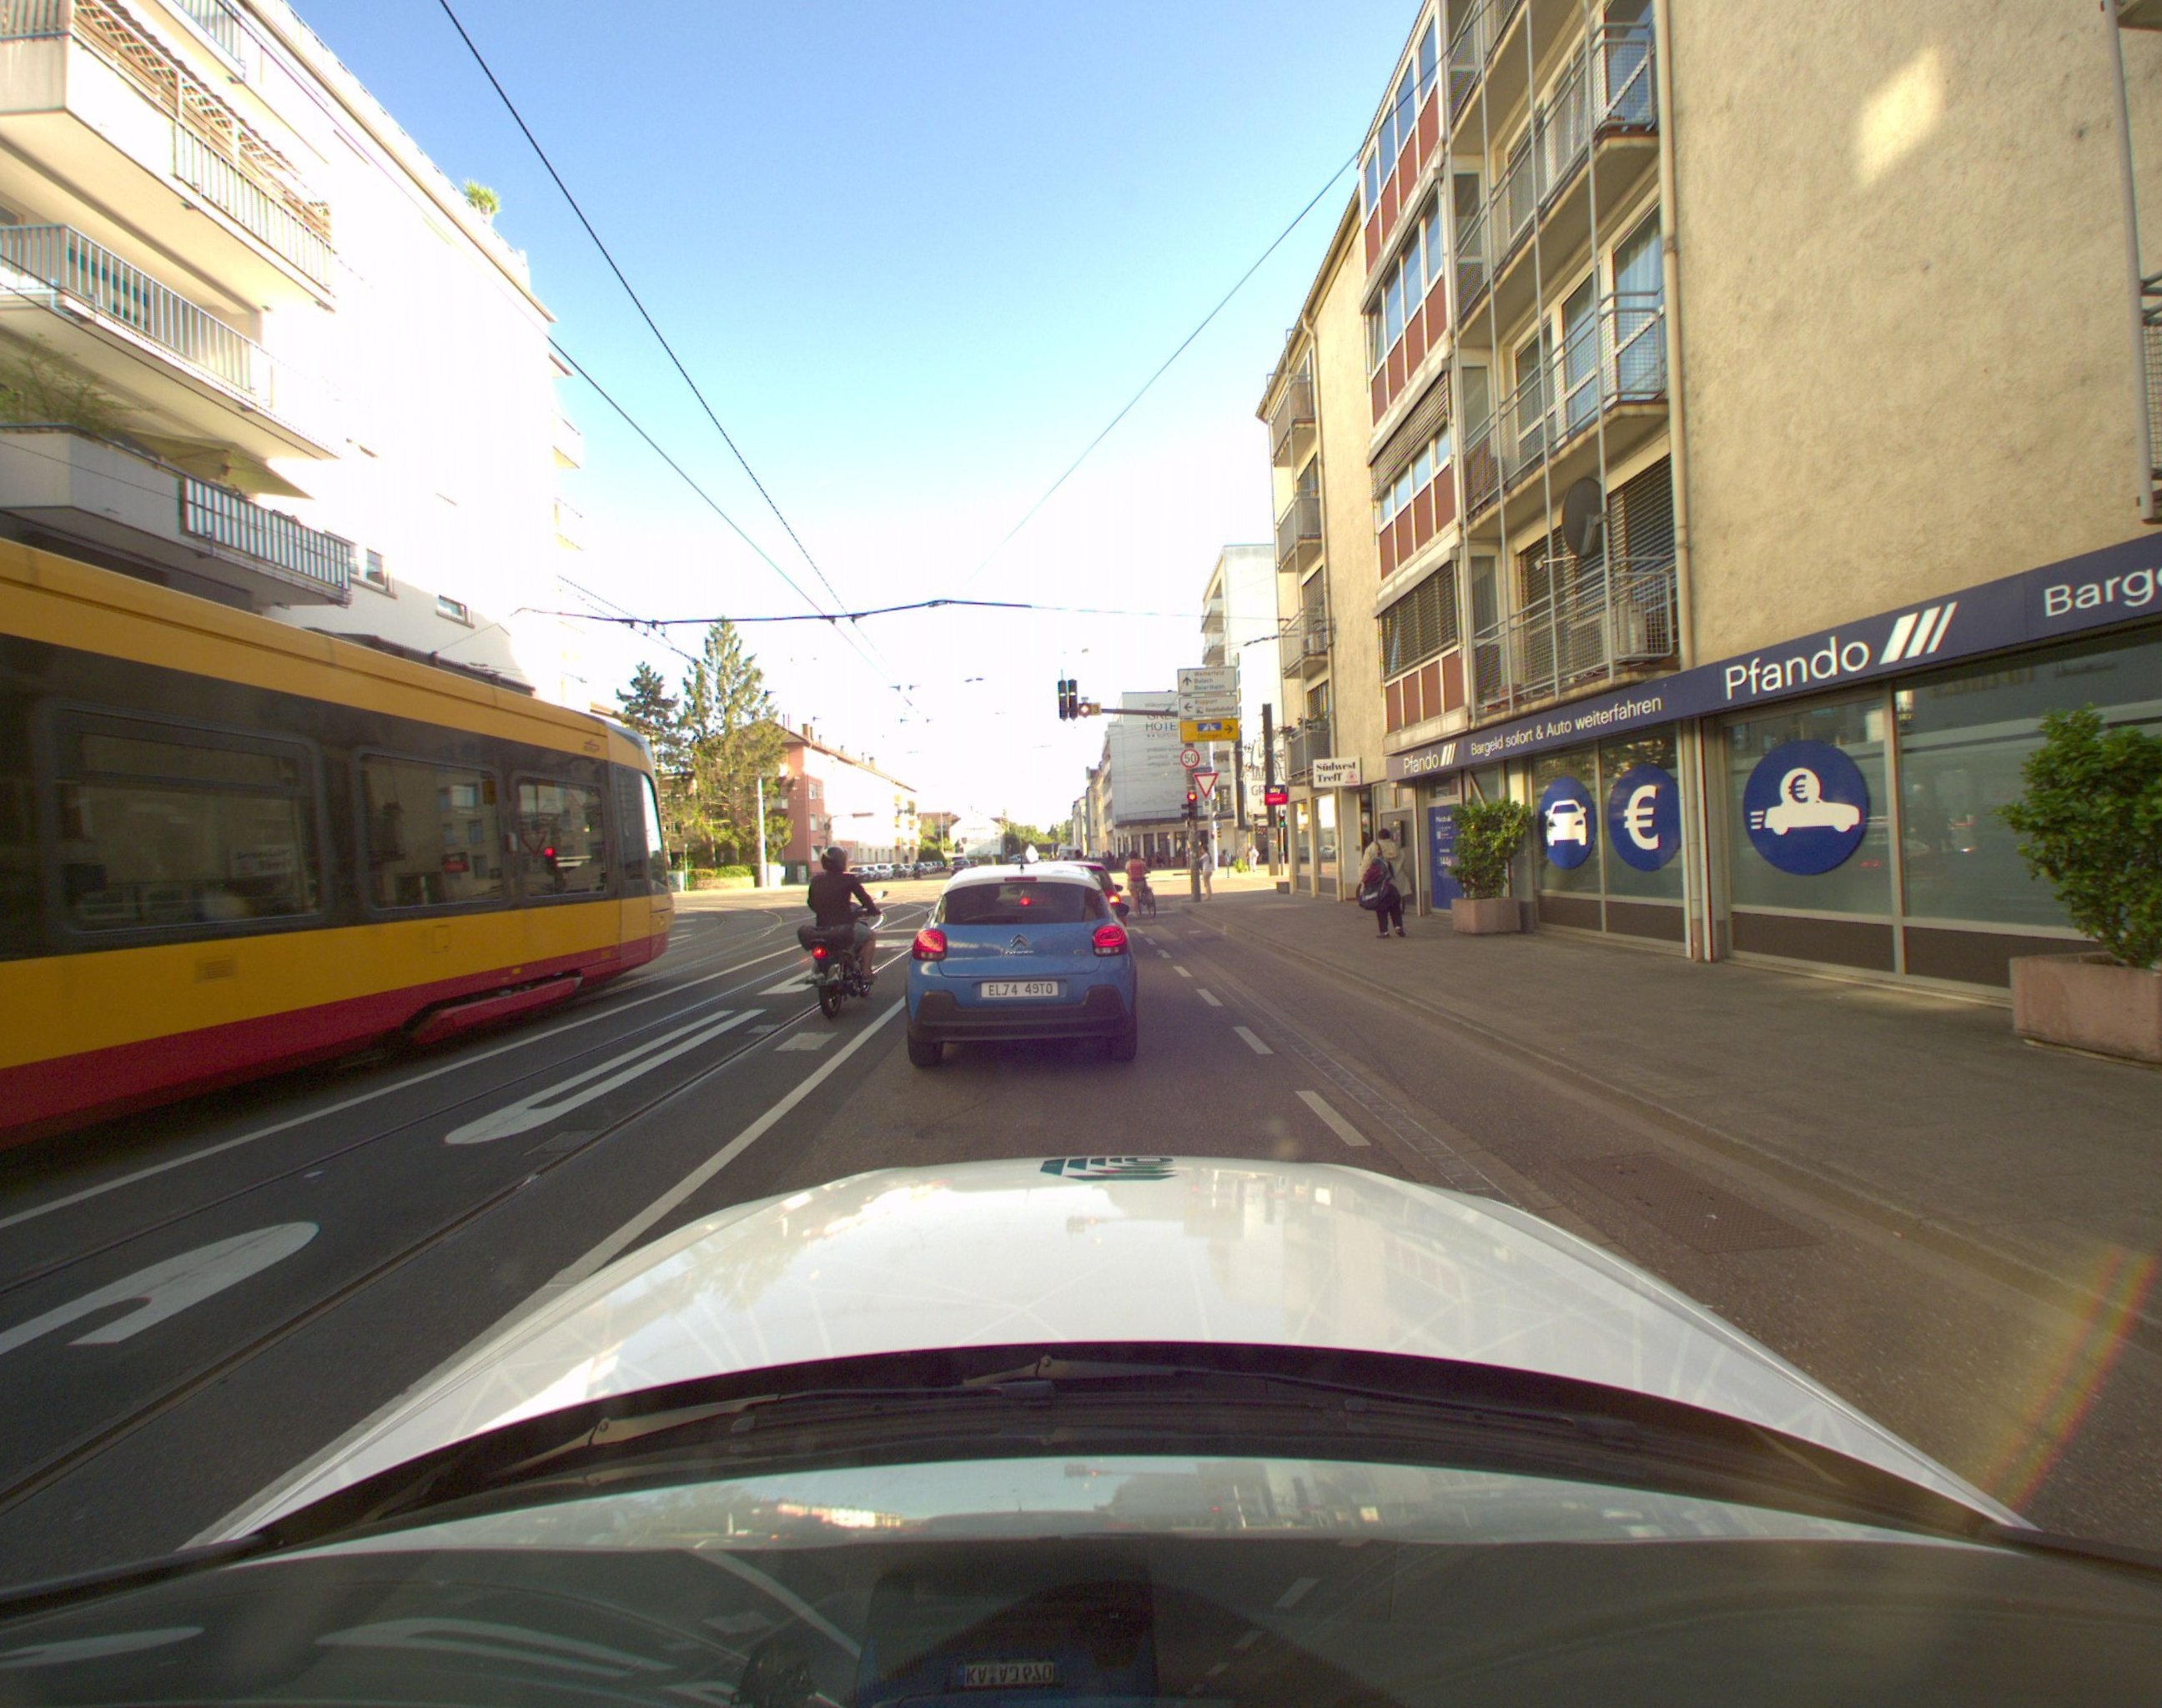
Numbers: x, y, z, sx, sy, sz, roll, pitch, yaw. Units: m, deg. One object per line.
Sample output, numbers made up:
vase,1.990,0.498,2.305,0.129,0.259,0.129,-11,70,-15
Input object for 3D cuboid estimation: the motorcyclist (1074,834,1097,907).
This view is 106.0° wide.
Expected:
motorcyclist,0.119,0.397,19.738,0.524,1.716,0.717,0,-1,1

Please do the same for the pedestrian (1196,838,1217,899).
pedestrian,3.722,0.434,24.242,0.515,1.783,0.595,0,-1,0

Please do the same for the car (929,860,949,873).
car,-18.631,1.671,107.053,1.978,1.687,3.998,0,-1,-1

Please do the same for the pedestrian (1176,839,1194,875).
pedestrian,5.989,0.167,46.961,0.922,2.014,0.760,0,-1,1

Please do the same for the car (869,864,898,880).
car,-19.365,1.740,80.087,1.781,1.511,4.150,0,-1,1

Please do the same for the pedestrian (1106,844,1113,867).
pedestrian,2.462,0.138,70.337,0.575,2.014,0.625,0,-1,-1

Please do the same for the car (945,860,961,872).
car,-19.204,1.761,121.953,1.841,1.687,3.872,0,-1,-1

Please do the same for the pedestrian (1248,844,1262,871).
pedestrian,10.794,0.235,50.527,0.748,1.657,0.885,-1,-1,8

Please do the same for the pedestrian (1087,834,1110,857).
pedestrian,1.629,-0.733,73.679,1.986,2.014,4.001,0,-1,2

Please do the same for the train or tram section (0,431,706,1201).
train or tram section,-6.481,-0.169,4.392,2.737,3.632,14.253,0,0,-2

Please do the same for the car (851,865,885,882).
car,-19.410,1.782,74.377,1.808,1.498,4.302,0,0,2

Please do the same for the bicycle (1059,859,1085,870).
bicycle,-0.717,0.872,66.435,2.130,0.901,0.366,0,-1,-7

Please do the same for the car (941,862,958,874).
car,-18.949,2.029,117.264,1.828,1.687,3.998,0,-1,-1

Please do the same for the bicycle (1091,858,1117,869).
bicycle,1.858,0.764,66.020,2.130,0.901,0.366,0,-1,-7

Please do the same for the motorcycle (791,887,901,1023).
motorcycle,-2.436,0.990,8.660,0.535,1.219,1.982,0,-1,2

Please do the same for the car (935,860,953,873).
car,-18.864,1.679,112.045,1.877,1.687,3.998,0,-1,-1

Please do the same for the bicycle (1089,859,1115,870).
bicycle,1.711,0.861,67.267,2.130,0.901,0.366,0,-1,-7

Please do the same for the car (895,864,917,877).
car,-19.949,1.846,92.796,1.728,1.498,3.996,0,-1,-2

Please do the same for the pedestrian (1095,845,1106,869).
pedestrian,1.661,0.244,69.358,0.635,2.014,0.717,0,-1,-34

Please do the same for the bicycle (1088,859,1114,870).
bicycle,1.650,0.853,67.685,2.130,0.901,0.366,0,-1,-7

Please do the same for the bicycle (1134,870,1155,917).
bicycle,1.587,0.970,20.606,0.426,1.123,1.999,0,-1,2

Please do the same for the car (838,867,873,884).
car,-19.188,1.809,69.406,1.787,1.421,3.996,0,-1,1

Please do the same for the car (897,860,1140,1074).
car,-0.372,0.786,7.300,1.648,1.444,3.524,0,-1,2

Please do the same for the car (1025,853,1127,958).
car,-0.029,0.761,13.283,1.419,1.467,2.925,-2,-1,2

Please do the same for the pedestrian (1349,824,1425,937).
pedestrian,4.423,0.375,11.833,0.822,1.593,0.751,0,-1,1

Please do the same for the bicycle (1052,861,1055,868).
bicycle,-3.336,1.248,98.092,0.347,0.903,1.859,0,-1,0

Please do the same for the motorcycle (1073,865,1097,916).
motorcycle,0.112,0.830,19.546,0.524,1.139,2.290,0,-1,2

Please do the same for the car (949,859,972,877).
car,-11.336,1.337,76.836,1.770,1.666,3.854,0,-1,-2

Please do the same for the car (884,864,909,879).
car,-19.616,1.816,86.704,1.781,1.498,3.998,0,-1,-1

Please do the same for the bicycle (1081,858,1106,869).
bicycle,1.051,0.815,68.459,2.130,0.901,0.366,0,-1,-7

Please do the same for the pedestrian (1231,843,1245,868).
pedestrian,10.163,0.110,52.713,0.734,1.601,0.748,0,-1,-2

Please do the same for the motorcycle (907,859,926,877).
motorcycle,-13.637,1.150,67.576,0.921,1.486,3.724,0,-1,-1

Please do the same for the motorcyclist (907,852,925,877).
motorcyclist,-13.662,0.890,67.520,1.182,2.013,1.275,-2,0,-1

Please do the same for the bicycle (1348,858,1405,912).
bicycle,5.695,0.575,15.771,0.540,0.998,1.706,0,-1,2

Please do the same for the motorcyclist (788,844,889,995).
motorcyclist,-2.508,0.660,8.475,0.857,1.505,0.598,0,-1,1

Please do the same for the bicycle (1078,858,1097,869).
bicycle,0.528,0.814,69.426,1.765,0.901,0.369,-1,-1,36

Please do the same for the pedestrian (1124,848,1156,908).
pedestrian,1.472,0.586,20.352,0.774,1.460,0.682,0,-1,1

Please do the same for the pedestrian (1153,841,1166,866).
pedestrian,6.391,-0.033,66.328,0.715,2.014,0.750,0,-1,-44

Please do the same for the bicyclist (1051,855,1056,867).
bicyclist,-3.339,0.834,98.030,0.559,1.477,0.748,0,-1,1
